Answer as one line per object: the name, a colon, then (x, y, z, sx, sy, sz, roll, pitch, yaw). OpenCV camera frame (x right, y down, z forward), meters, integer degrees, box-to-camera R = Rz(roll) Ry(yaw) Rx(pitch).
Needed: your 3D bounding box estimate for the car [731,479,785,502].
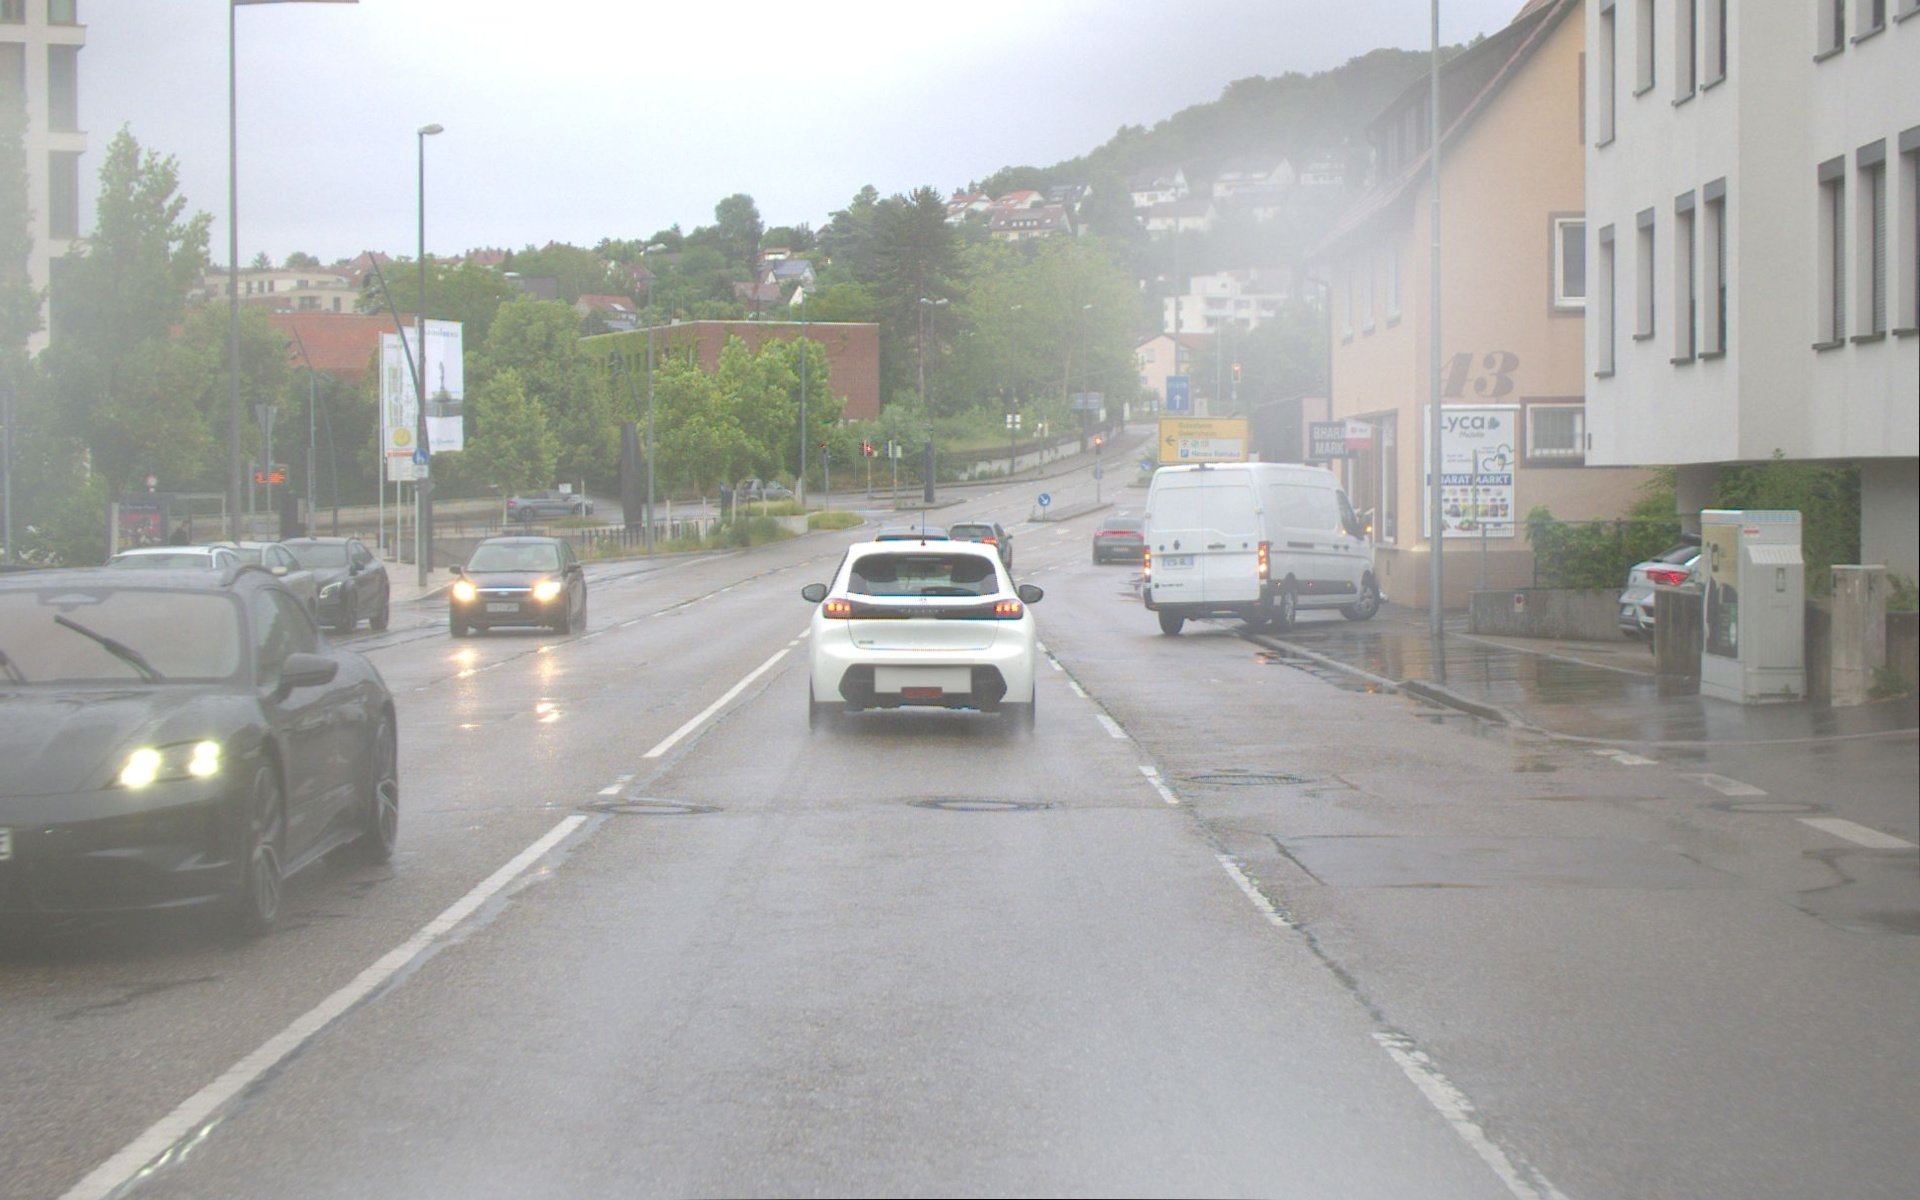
car: (-10.425, -5.677, 177.660, 2.418, 1.153, 1.371, -1, 0, -26)

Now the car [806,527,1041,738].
car: (-0.355, 0.250, 26.923, 1.691, 1.514, 3.933, 0, 0, -3)

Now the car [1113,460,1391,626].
car: (4.606, -0.840, 53.021, 2.293, 2.374, 6.617, -1, 0, 23)

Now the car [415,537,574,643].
car: (-7.062, -0.143, 52.467, 1.880, 1.518, 4.184, -1, 0, -1)

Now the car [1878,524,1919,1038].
car: (4.105, 0.543, 9.093, 2.011, 1.616, 4.361, 0, -1, -3)

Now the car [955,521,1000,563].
car: (0.504, -1.686, 100.416, 1.212, 1.152, 2.270, -1, 0, -3)

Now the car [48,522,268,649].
car: (-9.728, -0.167, 42.018, 1.795, 1.458, 4.479, 0, 0, -2)

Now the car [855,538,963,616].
car: (-0.869, -0.425, 60.358, 1.741, 1.291, 3.334, -1, 1, 2)

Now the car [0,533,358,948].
car: (-3.709, 0.490, 14.008, 1.768, 1.409, 4.526, -1, 0, -1)

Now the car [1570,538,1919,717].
car: (8.737, 0.298, 37.162, 3.791, 1.524, 1.820, 6, 2, -1)

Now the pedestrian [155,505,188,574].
pedestrian: (-20.047, -1.539, 87.386, 0.782, 1.739, 0.674, -1, 0, -14)

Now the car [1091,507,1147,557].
car: (5.123, -2.198, 111.023, 1.734, 1.383, 3.353, 1, 5, 2)

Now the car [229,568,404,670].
car: (-10.013, 0.283, 53.835, 1.691, 1.505, 4.577, -1, 0, 2)
